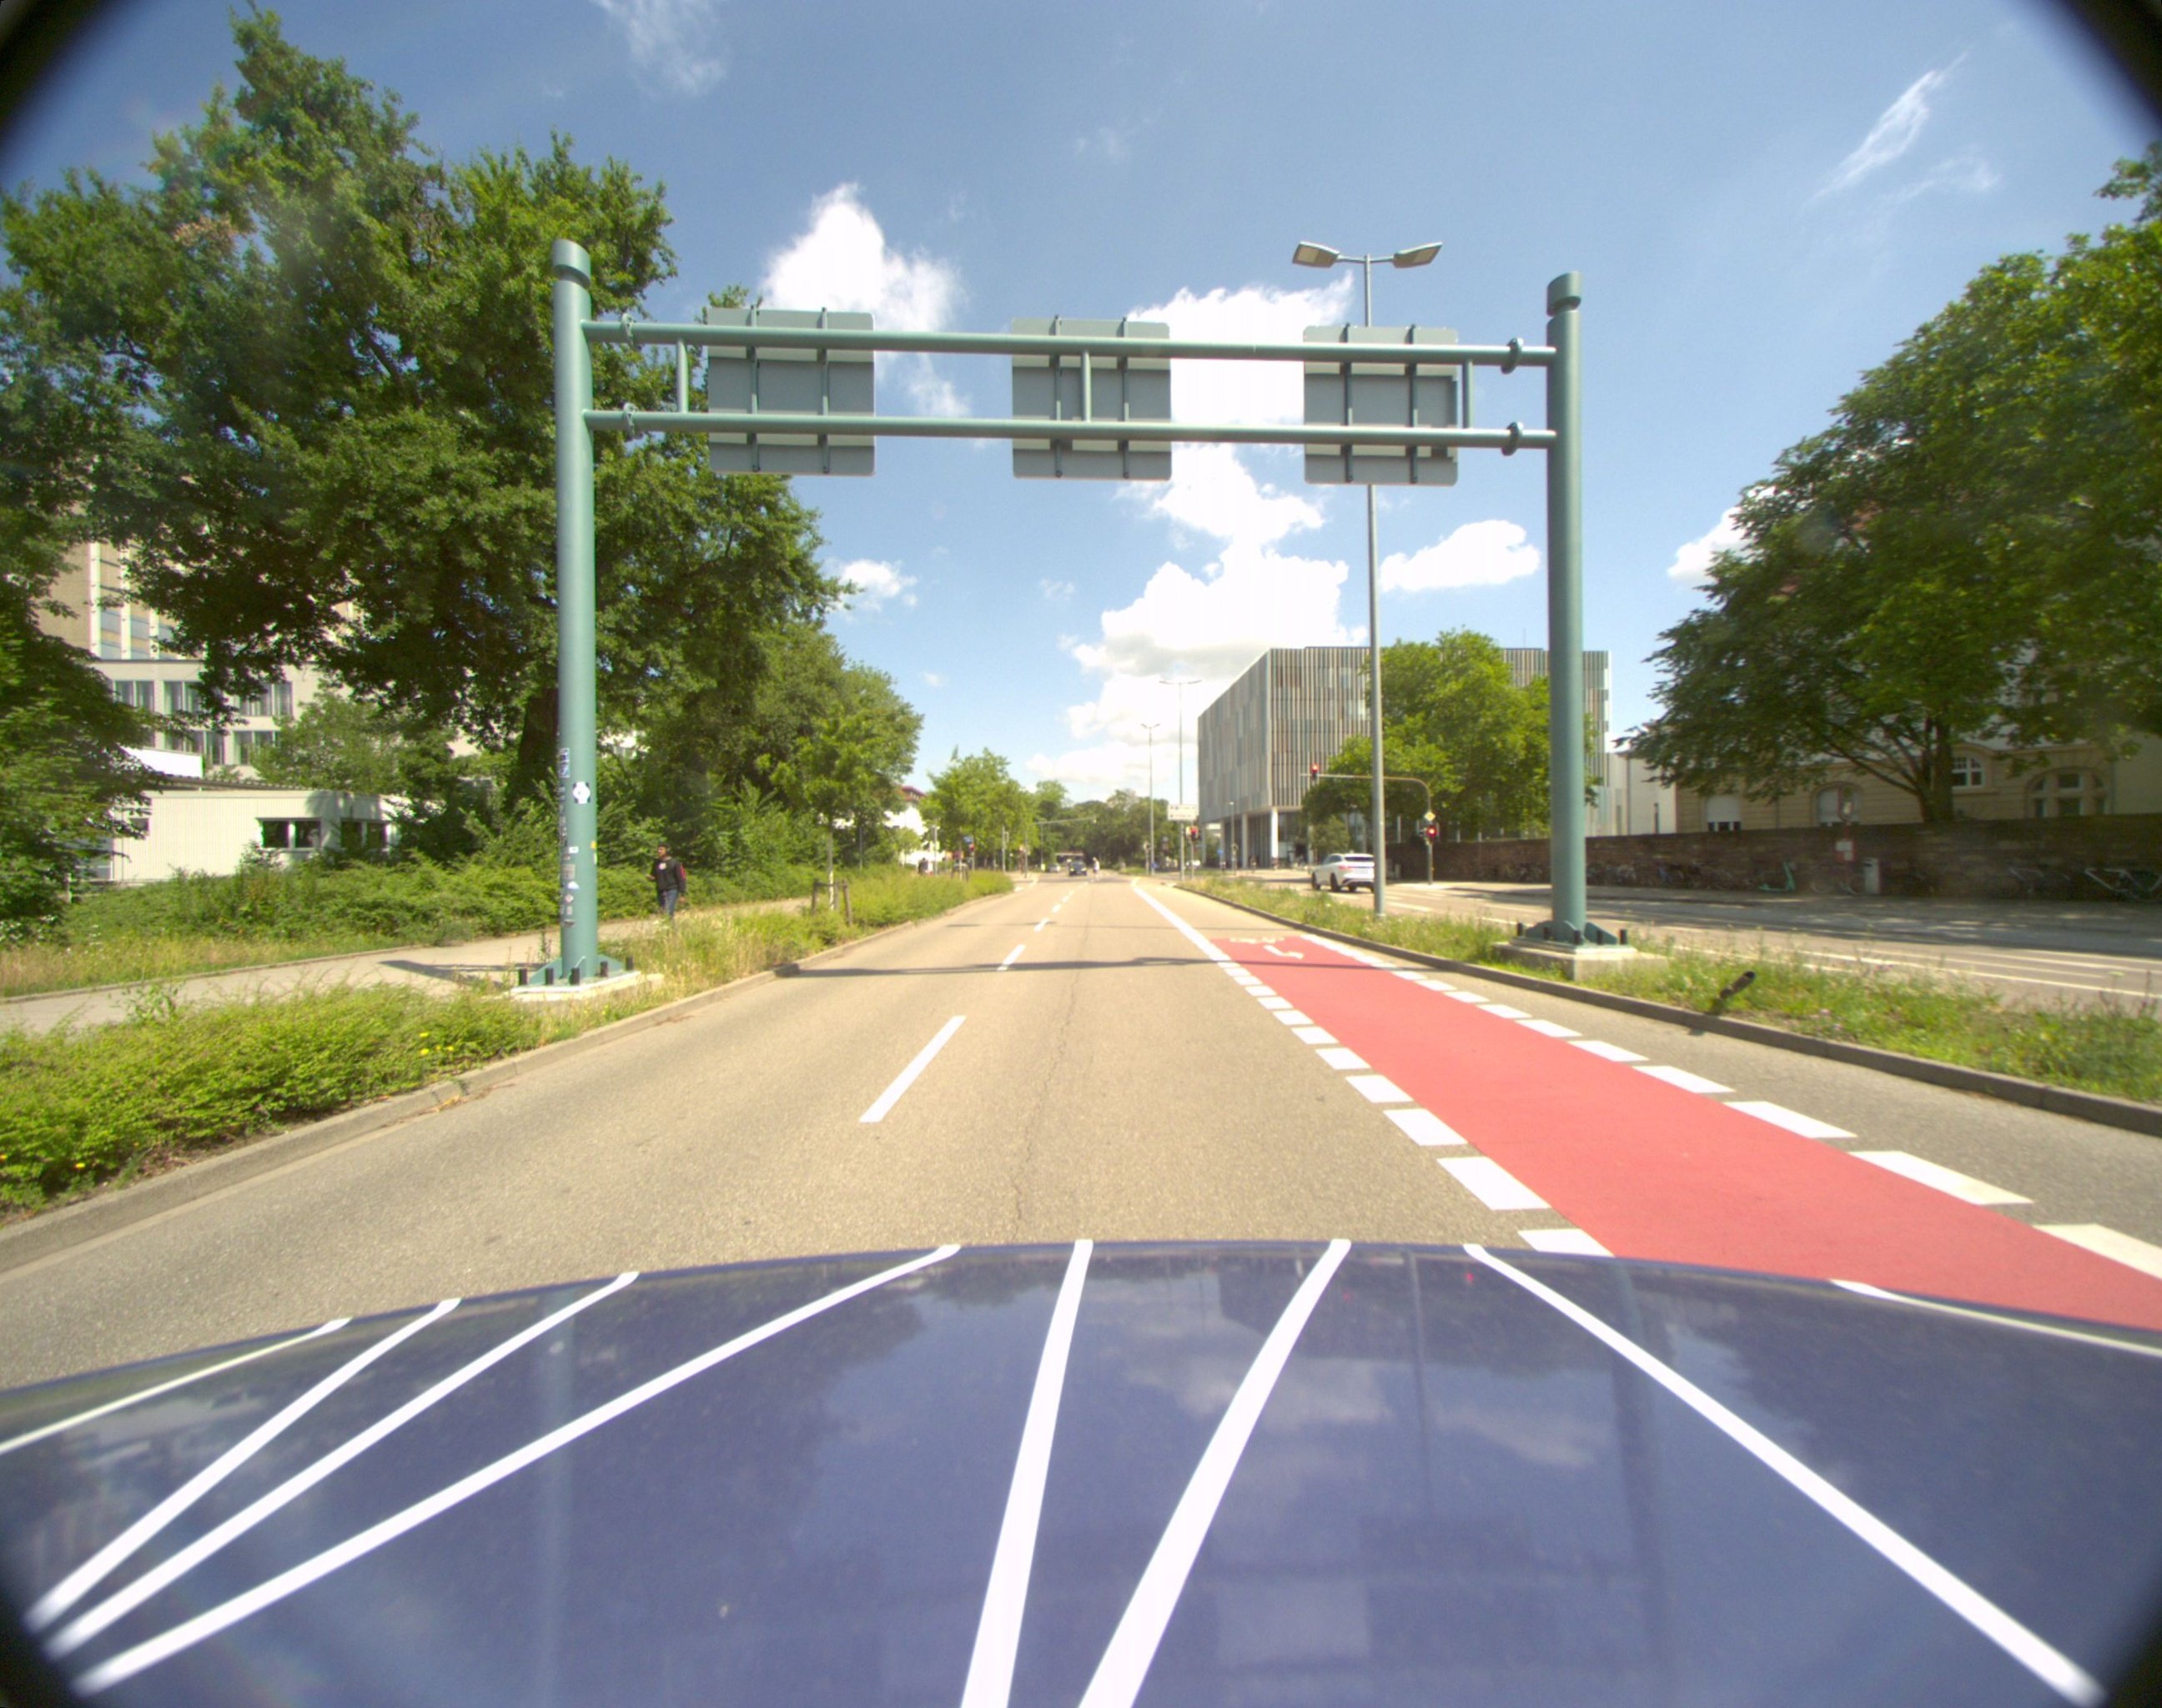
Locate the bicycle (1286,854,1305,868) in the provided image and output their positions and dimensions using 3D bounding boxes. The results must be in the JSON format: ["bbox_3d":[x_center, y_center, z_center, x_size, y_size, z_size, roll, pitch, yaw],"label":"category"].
[{"bbox_3d":[26.562,0.857,94.064,0.808,1.634,3.422,-1,0,42],"label":"bicycle"}]

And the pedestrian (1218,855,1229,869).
[{"bbox_3d":[16.435,0.912,87.494,0.972,1.619,0.878,-1,0,-11],"label":"pedestrian"}]

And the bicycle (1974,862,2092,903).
[{"bbox_3d":[25.563,0.745,20.450,0.545,1.041,1.948,-1,0,-11],"label":"bicycle"}]

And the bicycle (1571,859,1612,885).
[{"bbox_3d":[23.074,0.810,34.382,0.403,1.145,1.591,-1,0,-22],"label":"bicycle"}]

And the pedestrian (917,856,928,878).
[{"bbox_3d":[-13.732,1.122,65.882,0.879,1.861,0.971,-1,0,-11],"label":"pedestrian"}]

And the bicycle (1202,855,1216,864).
[{"bbox_3d":[23.067,0.964,136.869,2.511,1.486,0.621,-1,0,1],"label":"bicycle"}]

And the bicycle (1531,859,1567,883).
[{"bbox_3d":[23.013,0.817,37.378,0.623,1.145,1.593,-1,0,-8],"label":"bicycle"}]

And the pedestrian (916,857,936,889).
[{"bbox_3d":[-8.417,1.033,41.352,0.815,1.711,0.929,-1,1,2],"label":"pedestrian"}]

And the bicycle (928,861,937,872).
[{"bbox_3d":[-17.199,1.420,88.031,0.885,1.244,2.163,-1,0,-11],"label":"bicycle"}]

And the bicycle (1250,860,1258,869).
[{"bbox_3d":[19.174,1.123,84.235,0.646,0.992,2.166,-1,0,19],"label":"bicycle"}]

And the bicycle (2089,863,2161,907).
[{"bbox_3d":[25.897,0.736,18.294,0.545,1.041,1.894,-1,0,-11],"label":"bicycle"}]

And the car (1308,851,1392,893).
[{"bbox_3d":[11.505,0.737,32.875,2.076,1.657,4.776,-1,0,2],"label":"car"}]

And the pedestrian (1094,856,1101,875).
[{"bbox_3d":[1.613,1.160,75.451,0.646,1.815,0.689,-1,0,1],"label":"pedestrian"}]

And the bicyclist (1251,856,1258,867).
[{"bbox_3d":[19.236,0.867,84.369,0.617,1.219,0.835,-1,0,21],"label":"bicyclist"}]

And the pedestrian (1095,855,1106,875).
[{"bbox_3d":[1.915,1.047,74.481,1.108,1.914,0.972,-1,0,2],"label":"pedestrian"}]

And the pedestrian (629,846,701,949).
[{"bbox_3d":[-7.117,0.726,13.036,0.718,1.711,0.837,-1,1,2],"label":"pedestrian"}]

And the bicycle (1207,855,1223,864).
[{"bbox_3d":[23.172,1.010,131.361,2.511,1.486,0.621,-1,0,1],"label":"bicycle"}]

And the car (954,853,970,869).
[{"bbox_3d":[-15.858,0.976,101.721,2.000,2.042,4.226,-1,0,-8],"label":"car"}]

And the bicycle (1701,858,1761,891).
[{"bbox_3d":[23.958,0.743,28.036,0.534,1.145,1.591,-1,0,-21],"label":"bicycle"}]

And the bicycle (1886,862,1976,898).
[{"bbox_3d":[25.197,0.759,22.570,0.482,1.002,1.800,-1,0,-8],"label":"bicycle"}]

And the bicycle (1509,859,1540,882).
[{"bbox_3d":[22.780,0.821,39.087,0.500,1.145,1.593,-1,0,-8],"label":"bicycle"}]

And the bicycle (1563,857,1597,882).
[{"bbox_3d":[23.363,0.724,35.579,0.413,1.145,1.593,-1,0,-5],"label":"bicycle"}]

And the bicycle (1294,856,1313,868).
[{"bbox_3d":[27.329,1.000,93.330,2.693,1.485,0.930,-1,0,-44],"label":"bicycle"}]

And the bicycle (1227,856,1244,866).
[{"bbox_3d":[24.395,1.091,120.261,2.511,1.486,0.621,-1,0,1],"label":"bicycle"}]

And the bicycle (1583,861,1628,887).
[{"bbox_3d":[23.011,0.870,33.338,0.403,1.145,1.590,-1,0,-32],"label":"bicycle"}]

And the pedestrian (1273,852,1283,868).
[{"bbox_3d":[23.347,0.674,90.017,0.969,1.914,0.880,-1,1,27],"label":"pedestrian"}]

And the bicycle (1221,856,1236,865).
[{"bbox_3d":[23.805,1.080,122.460,2.200,1.486,0.621,-1,0,1],"label":"bicycle"}]

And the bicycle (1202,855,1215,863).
[{"bbox_3d":[23.165,0.952,138.155,2.302,1.486,0.657,-1,0,1],"label":"bicycle"}]

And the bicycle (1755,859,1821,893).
[{"bbox_3d":[24.435,0.752,26.295,0.534,1.145,1.591,-1,0,-21],"label":"bicycle"}]

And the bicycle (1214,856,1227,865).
[{"bbox_3d":[23.585,1.027,128.796,2.071,1.486,0.621,-1,0,1],"label":"bicycle"}]

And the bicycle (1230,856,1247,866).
[{"bbox_3d":[24.234,1.123,116.681,2.509,1.486,0.730,-1,0,10],"label":"bicycle"}]

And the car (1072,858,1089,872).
[{"bbox_3d":[-0.092,1.225,85.376,1.846,1.593,3.999,-1,0,-2],"label":"car"}]

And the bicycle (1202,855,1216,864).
[{"bbox_3d":[22.957,0.972,136.169,2.511,1.486,0.621,-1,0,1],"label":"bicycle"}]

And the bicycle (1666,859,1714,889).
[{"bbox_3d":[23.956,0.784,29.918,0.403,1.145,1.593,-1,0,-11],"label":"bicycle"}]

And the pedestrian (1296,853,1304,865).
[{"bbox_3d":[30.262,0.662,104.777,1.012,1.697,1.212,-1,0,17],"label":"pedestrian"}]

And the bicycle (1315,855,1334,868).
[{"bbox_3d":[29.355,0.856,91.452,1.049,1.543,3.422,-1,0,37],"label":"bicycle"}]

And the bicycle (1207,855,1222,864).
[{"bbox_3d":[23.265,0.999,132.473,2.511,1.486,0.621,-1,0,1],"label":"bicycle"}]

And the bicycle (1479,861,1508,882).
[{"bbox_3d":[22.483,0.929,41.416,0.573,1.092,1.593,-1,0,-8],"label":"bicycle"}]

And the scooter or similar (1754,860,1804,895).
[{"bbox_3d":[23.857,0.786,25.998,0.433,1.145,1.191,-1,0,-20],"label":"scooter or similar"}]

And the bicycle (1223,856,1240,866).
[{"bbox_3d":[23.651,1.108,119.364,2.511,1.486,0.621,-1,0,1],"label":"bicycle"}]

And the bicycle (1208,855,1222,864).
[{"bbox_3d":[23.484,0.987,133.542,2.330,1.486,0.621,-1,0,1],"label":"bicycle"}]

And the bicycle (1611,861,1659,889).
[{"bbox_3d":[23.326,0.877,32.019,0.403,1.145,1.590,-1,0,-32],"label":"bicycle"}]

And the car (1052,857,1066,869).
[{"bbox_3d":[-3.411,1.379,116.836,1.913,1.772,3.999,-1,0,-3],"label":"car"}]

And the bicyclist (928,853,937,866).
[{"bbox_3d":[-17.189,0.599,87.885,0.972,1.436,1.076,-1,0,-11],"label":"bicyclist"}]

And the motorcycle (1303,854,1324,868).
[{"bbox_3d":[28.293,0.889,92.376,0.969,1.630,3.305,-1,0,45],"label":"motorcycle"}]

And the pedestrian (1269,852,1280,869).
[{"bbox_3d":[22.143,0.696,87.007,0.969,1.914,0.880,-1,1,30],"label":"pedestrian"}]

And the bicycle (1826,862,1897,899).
[{"bbox_3d":[24.901,0.825,24.274,0.433,1.136,1.593,-1,0,-12],"label":"bicycle"}]

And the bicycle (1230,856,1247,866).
[{"bbox_3d":[23.947,1.137,115.676,2.451,1.486,0.621,-1,0,1],"label":"bicycle"}]
